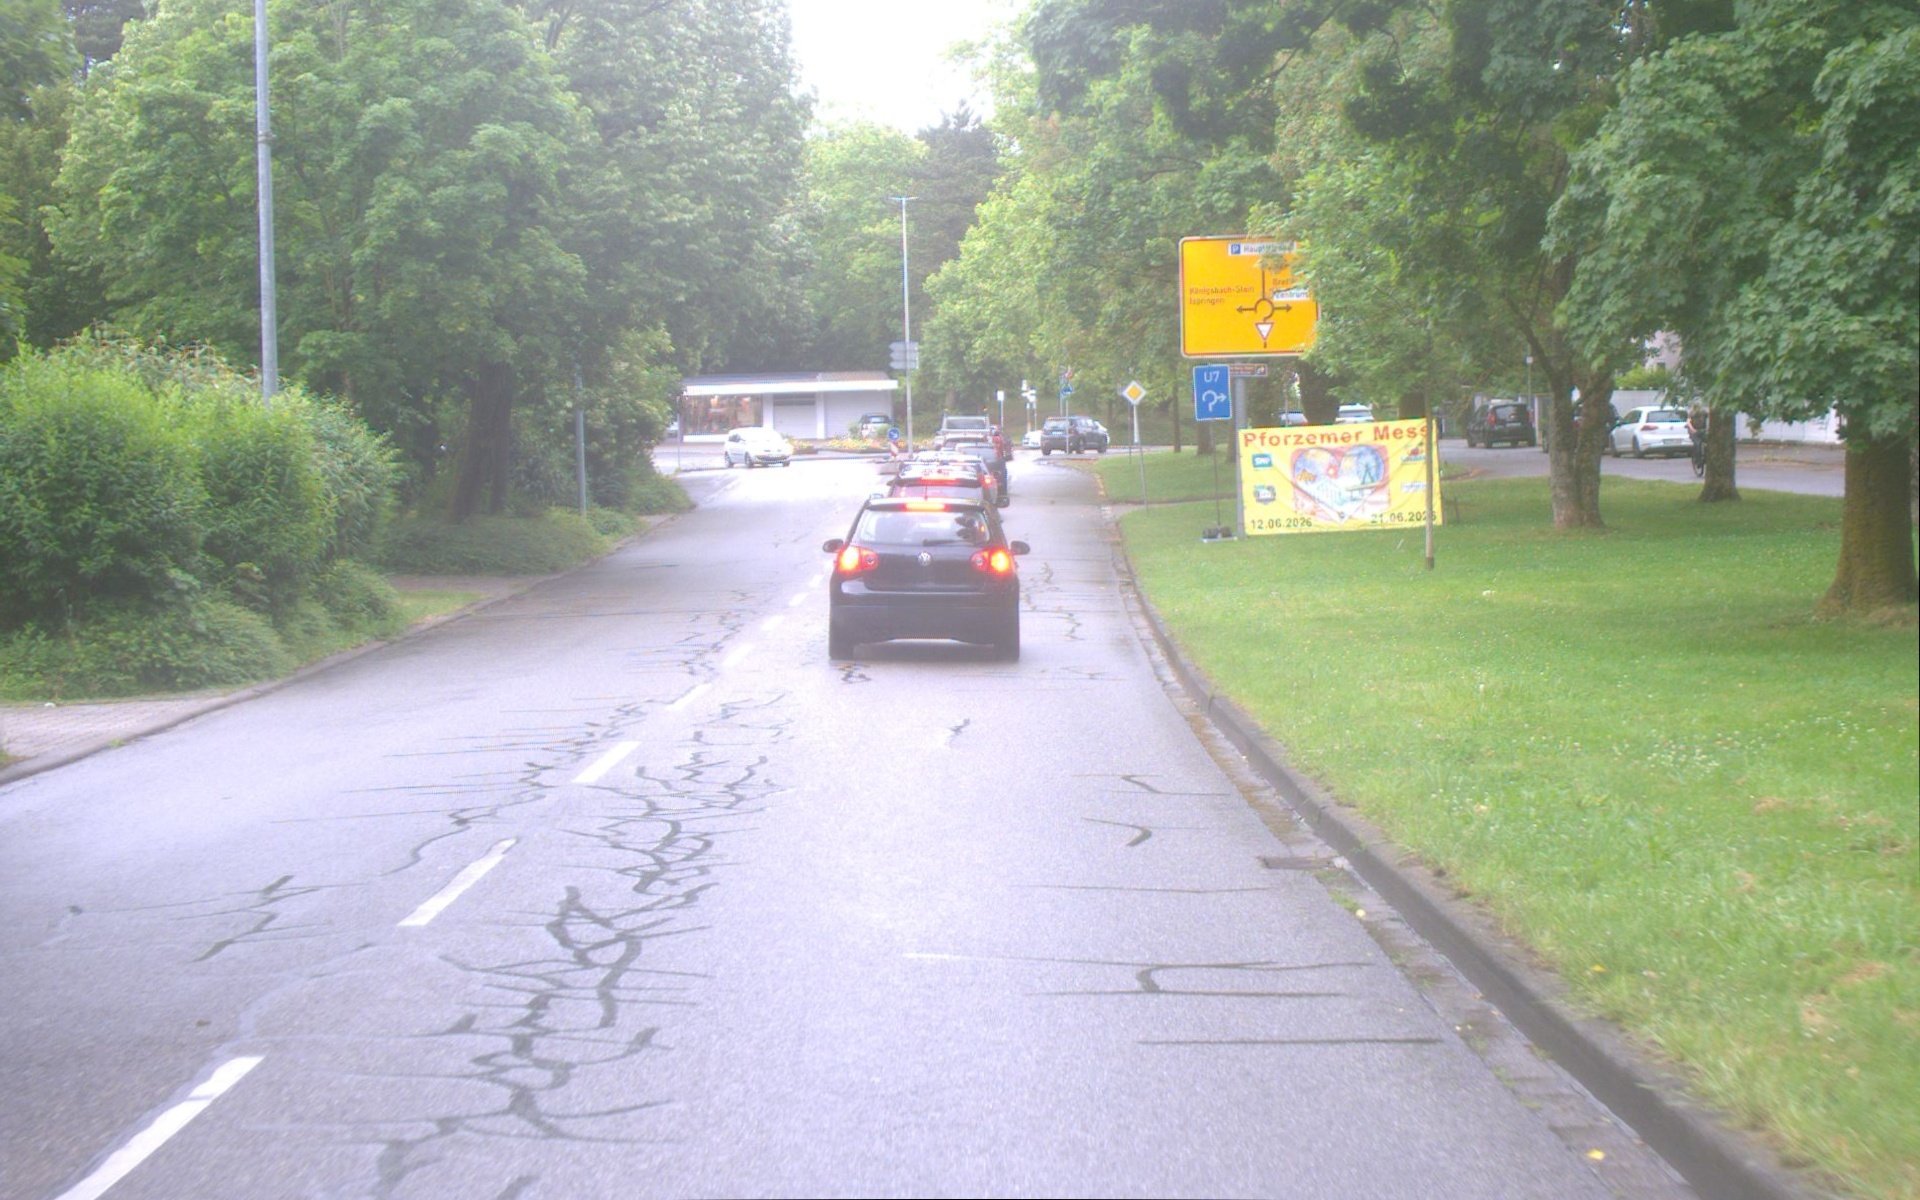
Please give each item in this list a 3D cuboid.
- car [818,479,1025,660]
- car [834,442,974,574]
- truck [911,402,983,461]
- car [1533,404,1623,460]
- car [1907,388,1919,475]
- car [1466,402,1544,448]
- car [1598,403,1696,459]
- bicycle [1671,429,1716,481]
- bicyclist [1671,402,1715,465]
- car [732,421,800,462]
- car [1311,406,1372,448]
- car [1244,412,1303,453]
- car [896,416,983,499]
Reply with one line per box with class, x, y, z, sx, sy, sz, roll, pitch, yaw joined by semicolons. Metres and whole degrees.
car;-0.320;-0.336;32.241;1.799;1.510;3.754;1;3;1
car;-0.767;-1.364;49.614;1.855;1.778;4.001;-1;3;1
truck;-0.485;-5.940;121.081;2.416;1.997;5.152;-1;3;-1
car;18.678;-5.109;104.084;1.801;1.524;4.114;-3;4;-2
car;20.968;-3.427;69.877;1.941;1.802;4.650;-3;4;-2
car;18.378;-5.927;116.110;1.801;1.406;4.114;-3;4;-2
car;19.213;-4.748;96.303;1.616;1.404;4.012;-3;4;-5
bicycle;16.197;-3.212;75.936;0.595;1.134;1.864;-1;3;1
bicyclist;16.192;-3.680;75.964;0.744;1.386;1.000;-1;2;1
car;-7.915;-6.451;139.906;1.763;1.608;4.143;-3;3;-17
car;14.274;-6.492;128.802;1.803;1.401;4.001;-3;4;1
car;11.738;-6.284;128.915;1.803;1.380;4.001;-3;4;1
car;-0.431;-3.249;78.054;1.855;1.778;4.001;-1;3;1
